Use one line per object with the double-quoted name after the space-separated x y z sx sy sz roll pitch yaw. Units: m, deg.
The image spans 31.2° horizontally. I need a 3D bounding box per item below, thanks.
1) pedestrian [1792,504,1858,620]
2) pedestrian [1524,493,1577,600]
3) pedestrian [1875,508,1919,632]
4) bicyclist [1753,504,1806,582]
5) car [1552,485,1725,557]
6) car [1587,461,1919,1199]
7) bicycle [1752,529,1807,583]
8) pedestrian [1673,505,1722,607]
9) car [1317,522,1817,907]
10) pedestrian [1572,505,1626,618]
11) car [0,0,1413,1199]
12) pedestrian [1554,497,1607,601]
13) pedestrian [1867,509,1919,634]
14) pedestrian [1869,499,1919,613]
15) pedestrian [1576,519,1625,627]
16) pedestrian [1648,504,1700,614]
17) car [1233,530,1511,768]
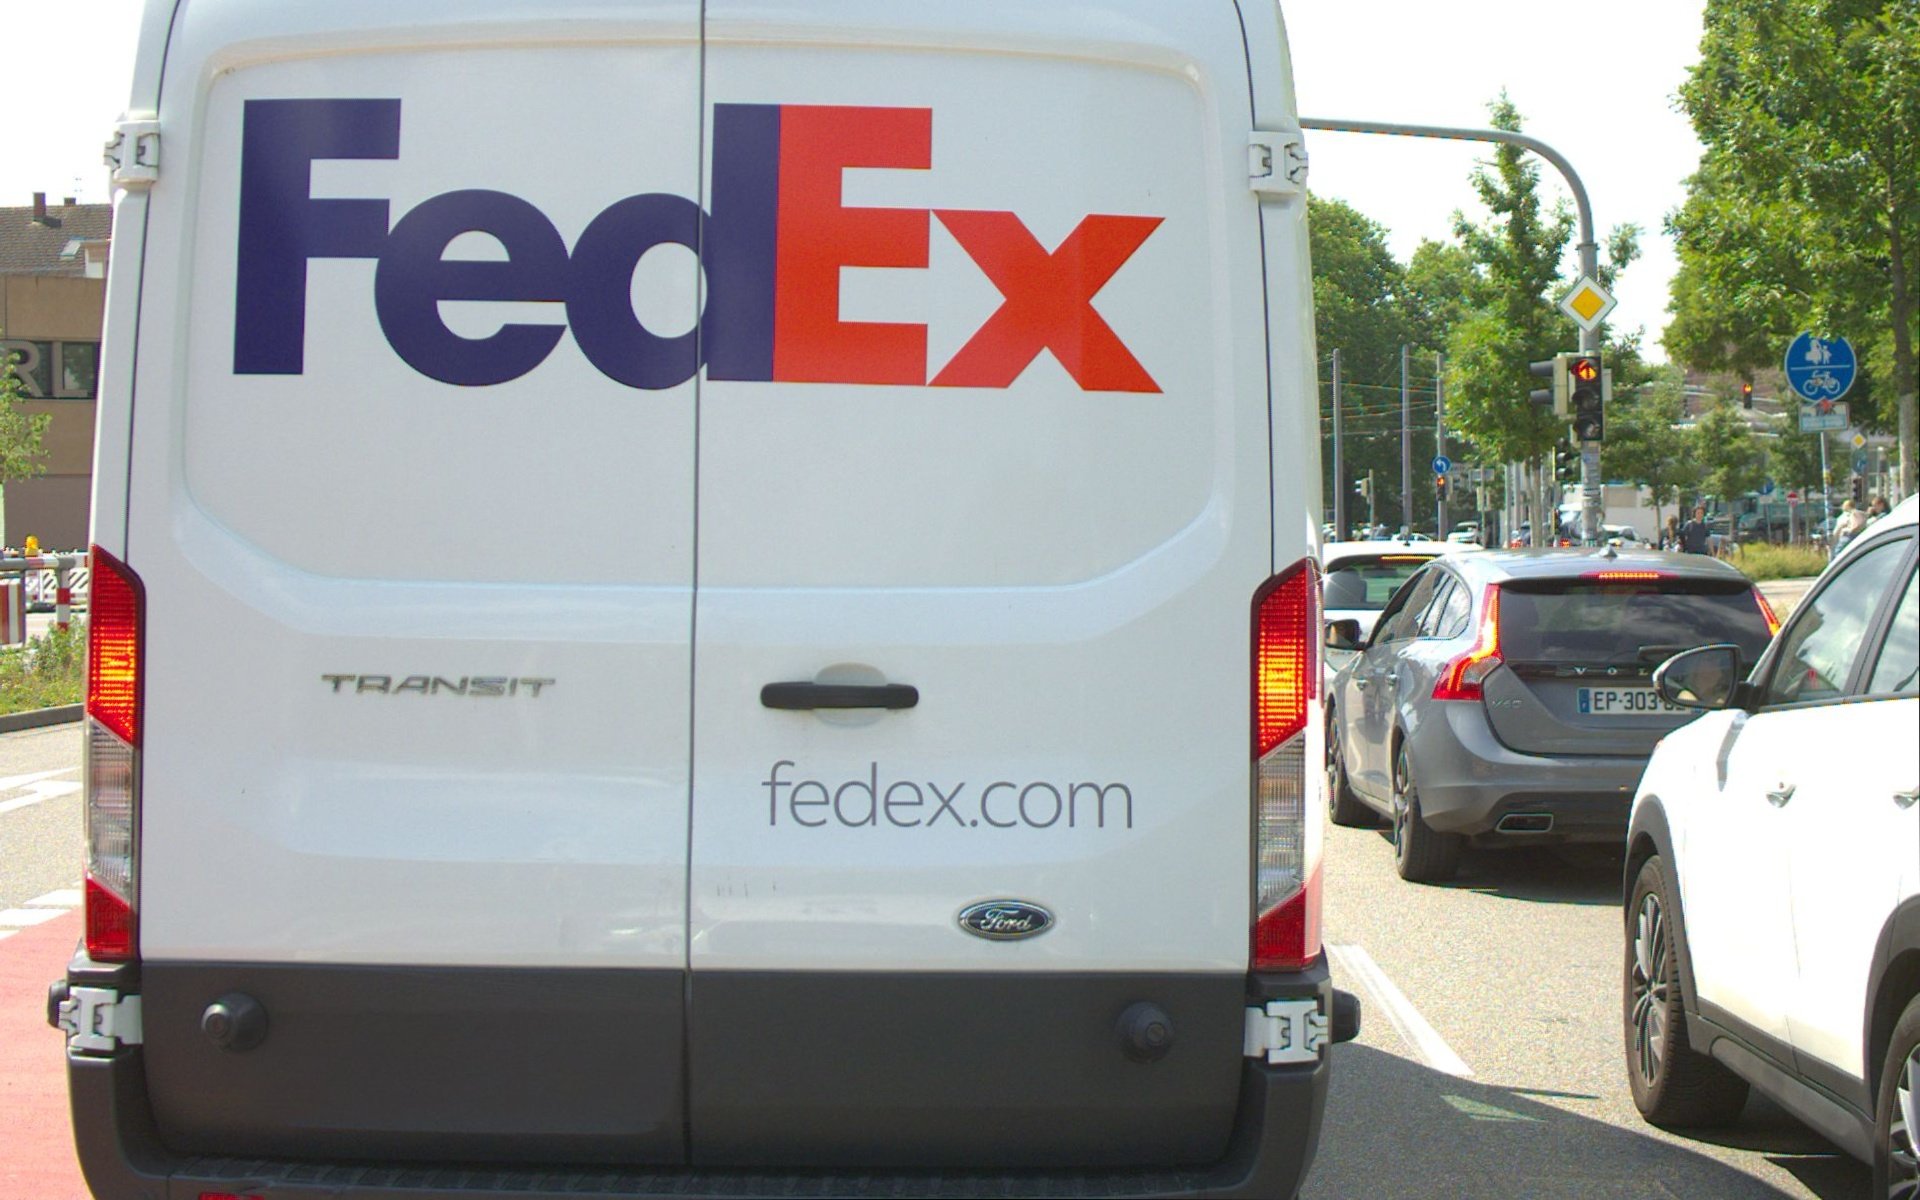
14.018 -0.622 55.718 0.758 1.843 0.816 -1 1 -10 "pedestrian"
10.295 -0.940 59.941 0.813 1.843 0.761 -1 1 3 "pedestrian"
14.239 -0.453 51.661 0.759 1.843 0.816 -1 1 0 "pedestrian"
23.136 -1.610 97.034 1.433 2.164 1.338 0 1 15 "bicyclist"
26.889 -3.097 136.138 7.062 2.708 2.496 0 1 -35 "car"
2.559 0.558 7.208 1.814 1.673 3.974 0 1 1 "car"
23.139 -1.260 97.021 1.426 1.459 4.308 0 2 15 "bicycle"
13.440 -0.807 62.666 0.759 1.843 0.816 -1 1 3 "pedestrian"
2.661 0.424 15.835 1.691 1.543 3.720 0 1 1 "car"
10.543 -0.645 56.690 0.759 1.843 0.815 0 1 18 "pedestrian"
-0.351 0.070 7.186 2.072 2.572 4.428 0 1 1 "car"
11.156 -0.924 61.832 0.758 1.843 0.816 -1 1 -3 "pedestrian"
12.669 -0.391 46.253 0.759 1.649 0.816 -1 1 3 "pedestrian"
15.338 -0.727 56.016 0.758 1.843 0.816 -1 1 -8 "pedestrian"
10.999 -0.466 59.050 0.759 1.843 0.816 0 1 15 "pedestrian"
12.073 -0.693 58.094 0.759 1.843 0.815 0 1 18 "pedestrian"
2.707 0.271 23.153 1.499 1.459 3.474 0 1 1 "car"
